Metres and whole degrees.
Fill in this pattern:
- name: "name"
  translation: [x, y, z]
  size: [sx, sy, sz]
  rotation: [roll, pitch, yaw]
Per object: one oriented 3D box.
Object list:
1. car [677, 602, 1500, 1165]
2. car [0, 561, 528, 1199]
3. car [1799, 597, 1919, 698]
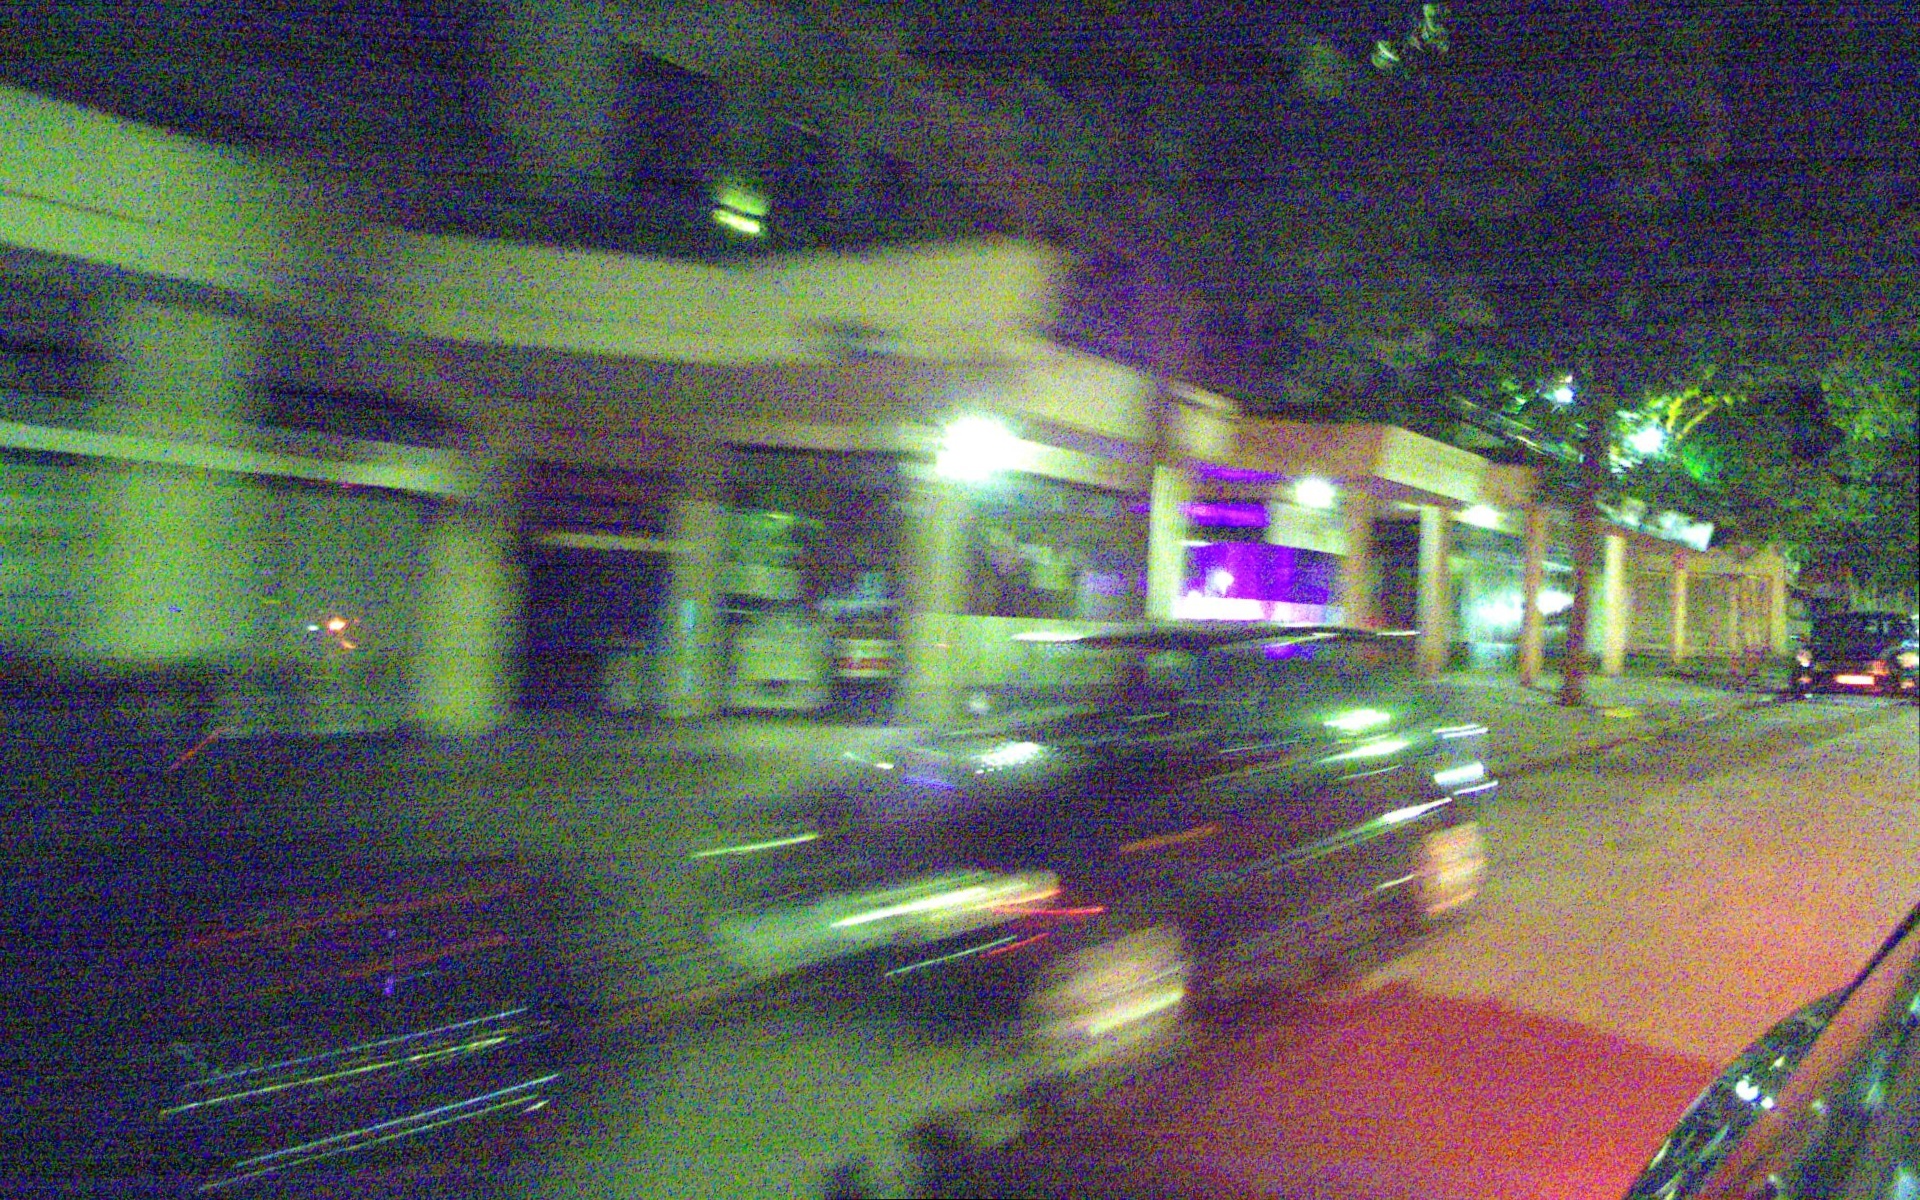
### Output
- name: "car"
  translation: [0.757, 0.723, 4.322]
  size: [3.456, 1.416, 1.602]
  rotation: [0, 0, -41]
- name: "car"
  translation: [-2.713, 0.710, 0.952]
  size: [3.932, 1.466, 1.678]
  rotation: [0, -2, -43]
- name: "car"
  translation: [15.102, 0.706, 16.543]
  size: [3.457, 1.492, 1.654]
  rotation: [0, 0, -42]
